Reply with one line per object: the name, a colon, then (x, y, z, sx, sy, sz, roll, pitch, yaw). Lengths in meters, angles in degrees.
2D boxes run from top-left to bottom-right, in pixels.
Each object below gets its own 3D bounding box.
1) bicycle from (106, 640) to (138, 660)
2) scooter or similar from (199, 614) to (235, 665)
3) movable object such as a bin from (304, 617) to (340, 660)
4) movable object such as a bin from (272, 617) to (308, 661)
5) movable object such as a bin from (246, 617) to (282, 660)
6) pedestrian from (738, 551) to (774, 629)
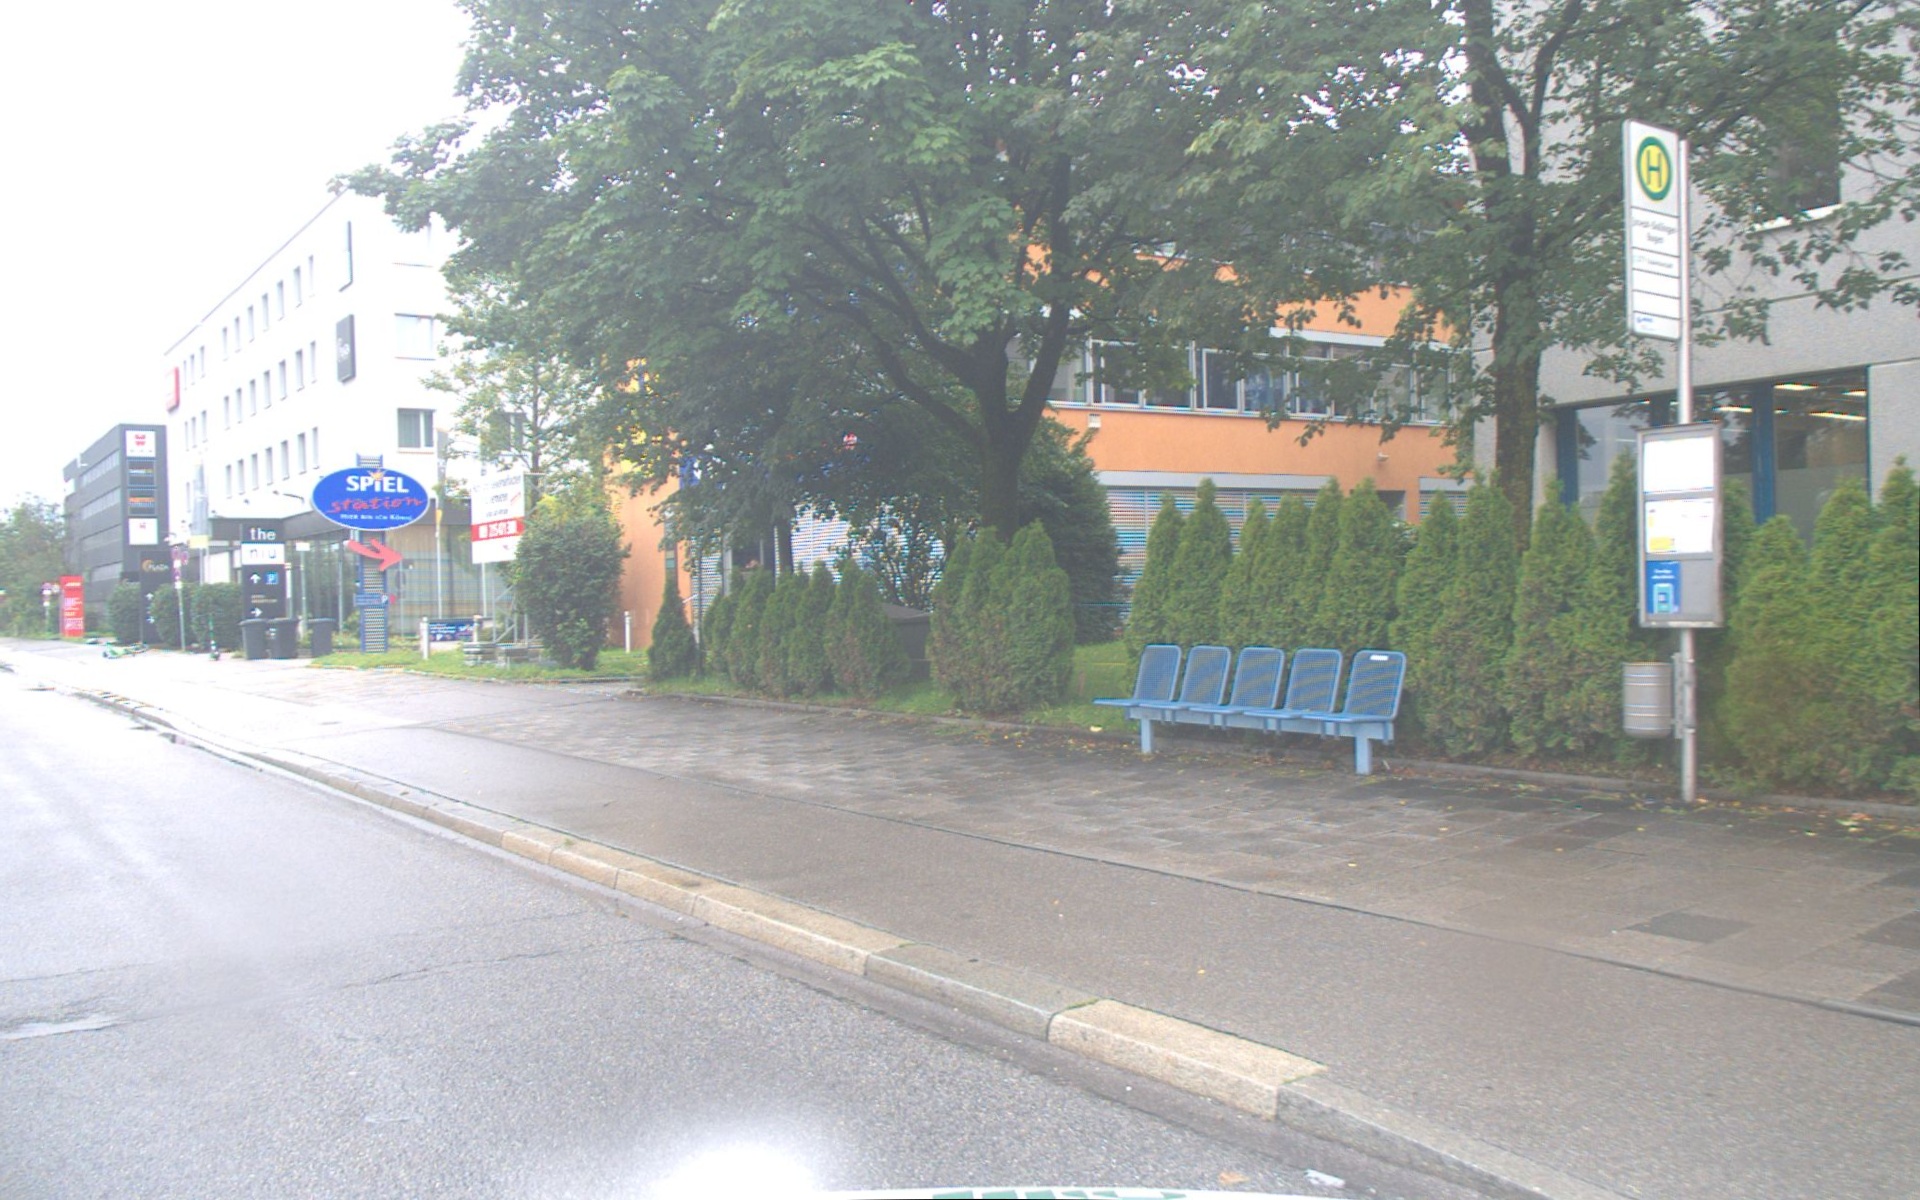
bicycle: (-27.292, 1.634, 53.872, 0.714, 0.558, 1.712, -6, 3, -33)
scooter or similar: (-20.432, 1.081, 45.459, 0.581, 1.299, 1.387, -7, 3, -33)
movable object such as a bin: (-17.192, 1.030, 44.577, 0.730, 1.097, 0.648, -3, 1, -33)
movable object such as a bin: (-17.787, 1.030, 43.885, 0.730, 1.097, 0.648, -3, 1, -33)
movable object such as a bin: (-18.585, 1.028, 44.165, 0.730, 1.097, 0.648, -3, 1, -33)
pedestrian: (-4.697, -0.231, 38.063, 0.647, 1.742, 0.660, -3, 1, -16)
